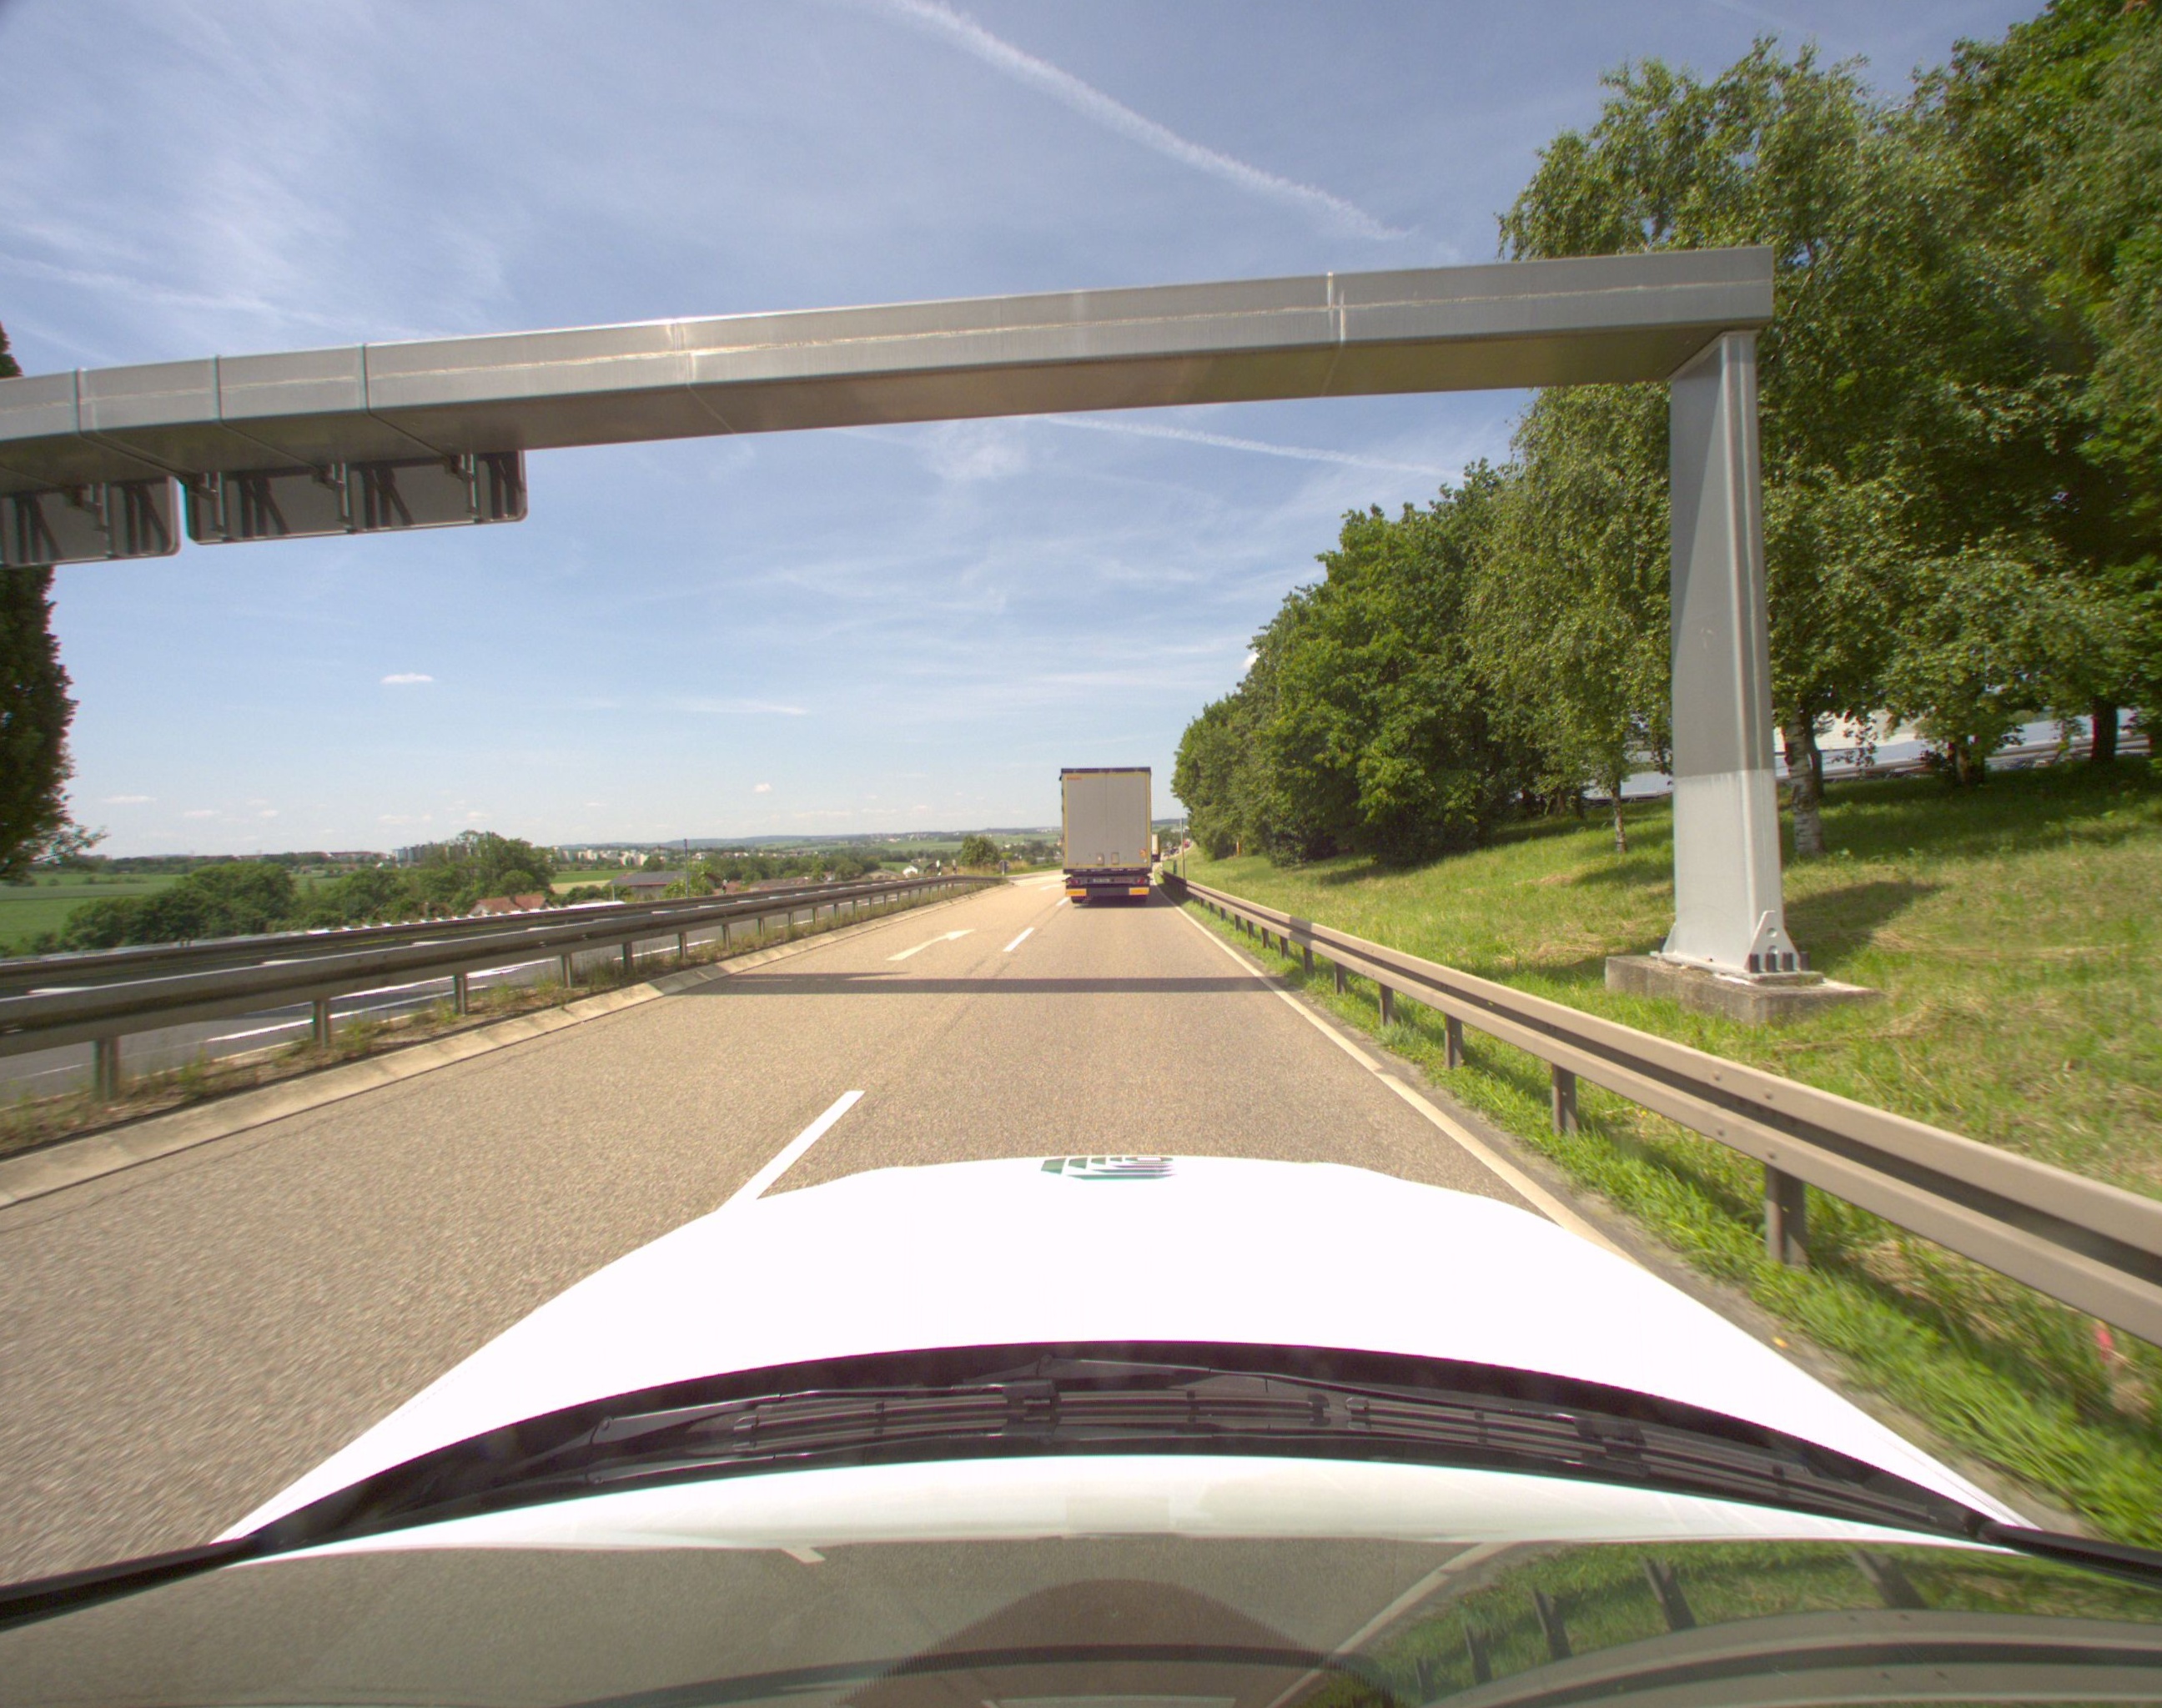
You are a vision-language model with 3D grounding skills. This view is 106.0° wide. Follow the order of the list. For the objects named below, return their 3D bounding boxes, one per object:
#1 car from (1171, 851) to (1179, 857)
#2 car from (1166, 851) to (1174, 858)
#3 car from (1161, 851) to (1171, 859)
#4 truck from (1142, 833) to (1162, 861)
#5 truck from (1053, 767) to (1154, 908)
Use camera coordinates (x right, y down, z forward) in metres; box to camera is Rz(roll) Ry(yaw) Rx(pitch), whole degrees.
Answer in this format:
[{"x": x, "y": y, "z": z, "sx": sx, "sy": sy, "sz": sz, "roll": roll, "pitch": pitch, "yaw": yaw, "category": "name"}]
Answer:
[{"x": 26.709, "y": -0.064, "z": 230.838, "sx": 1.780, "sy": 1.688, "sz": 4.000, "roll": -1, "pitch": -1, "yaw": 1, "category": "car"}, {"x": 22.956, "y": 0.209, "z": 209.632, "sx": 1.780, "sy": 1.688, "sz": 4.000, "roll": -1, "pitch": -1, "yaw": 1, "category": "car"}, {"x": 19.513, "y": 0.202, "z": 186.993, "sx": 1.780, "sy": 1.688, "sz": 4.000, "roll": -1, "pitch": -1, "yaw": 1, "category": "car"}, {"x": 10.308, "y": -0.865, "z": 117.442, "sx": 2.642, "sy": 3.765, "sz": 10.178, "roll": -1, "pitch": -1, "yaw": 6, "category": "truck"}, {"x": 0.836, "y": -0.465, "z": 28.522, "sx": 2.788, "sy": 3.929, "sz": 11.347, "roll": -1, "pitch": 0, "yaw": 2, "category": "truck"}]
